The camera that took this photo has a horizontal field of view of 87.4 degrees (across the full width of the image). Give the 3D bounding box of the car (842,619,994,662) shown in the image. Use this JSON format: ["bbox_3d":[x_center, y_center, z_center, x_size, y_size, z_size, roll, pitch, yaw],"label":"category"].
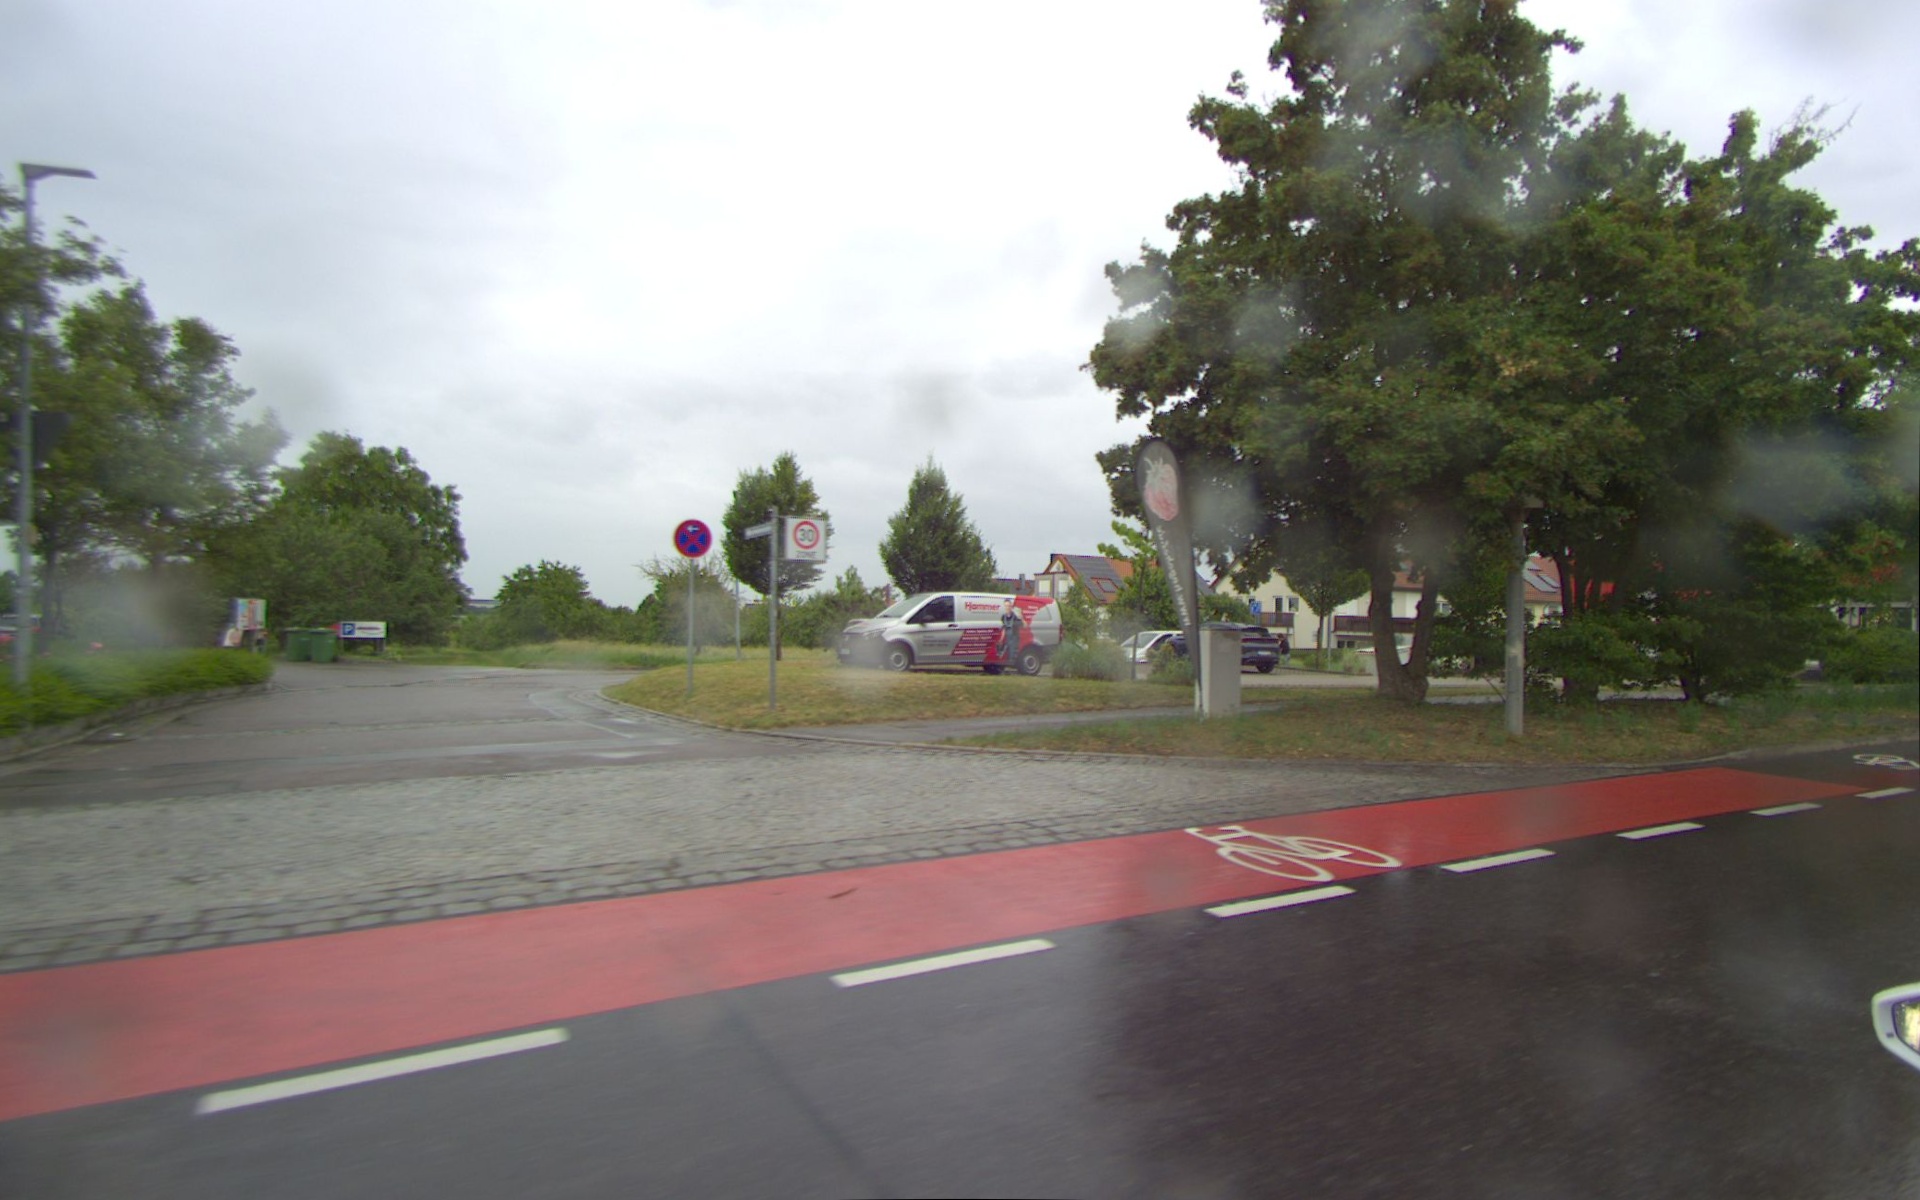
[{"bbox_3d":[-1.355,1.280,32.777,4.600,1.246,1.973,1,0,-29],"label":"car"}]

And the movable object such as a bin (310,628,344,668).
[{"bbox_3d":[-20.078,1.505,31.864,0.652,1.233,0.629,1,0,20],"label":"movable object such as a bin"}]

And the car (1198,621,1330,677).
[{"bbox_3d":[9.674,1.505,31.882,4.132,1.577,2.097,1,0,-40],"label":"car"}]

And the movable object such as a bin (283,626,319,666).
[{"bbox_3d":[-21.186,1.479,32.299,0.749,1.233,0.629,1,0,20],"label":"movable object such as a bin"}]

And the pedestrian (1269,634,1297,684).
[{"bbox_3d":[12.462,2.273,38.784,0.758,1.861,0.678,0,1,-34],"label":"pedestrian"}]

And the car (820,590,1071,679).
[{"bbox_3d":[-0.278,0.742,23.231,5.542,1.847,2.024,1,0,-30],"label":"car"}]
